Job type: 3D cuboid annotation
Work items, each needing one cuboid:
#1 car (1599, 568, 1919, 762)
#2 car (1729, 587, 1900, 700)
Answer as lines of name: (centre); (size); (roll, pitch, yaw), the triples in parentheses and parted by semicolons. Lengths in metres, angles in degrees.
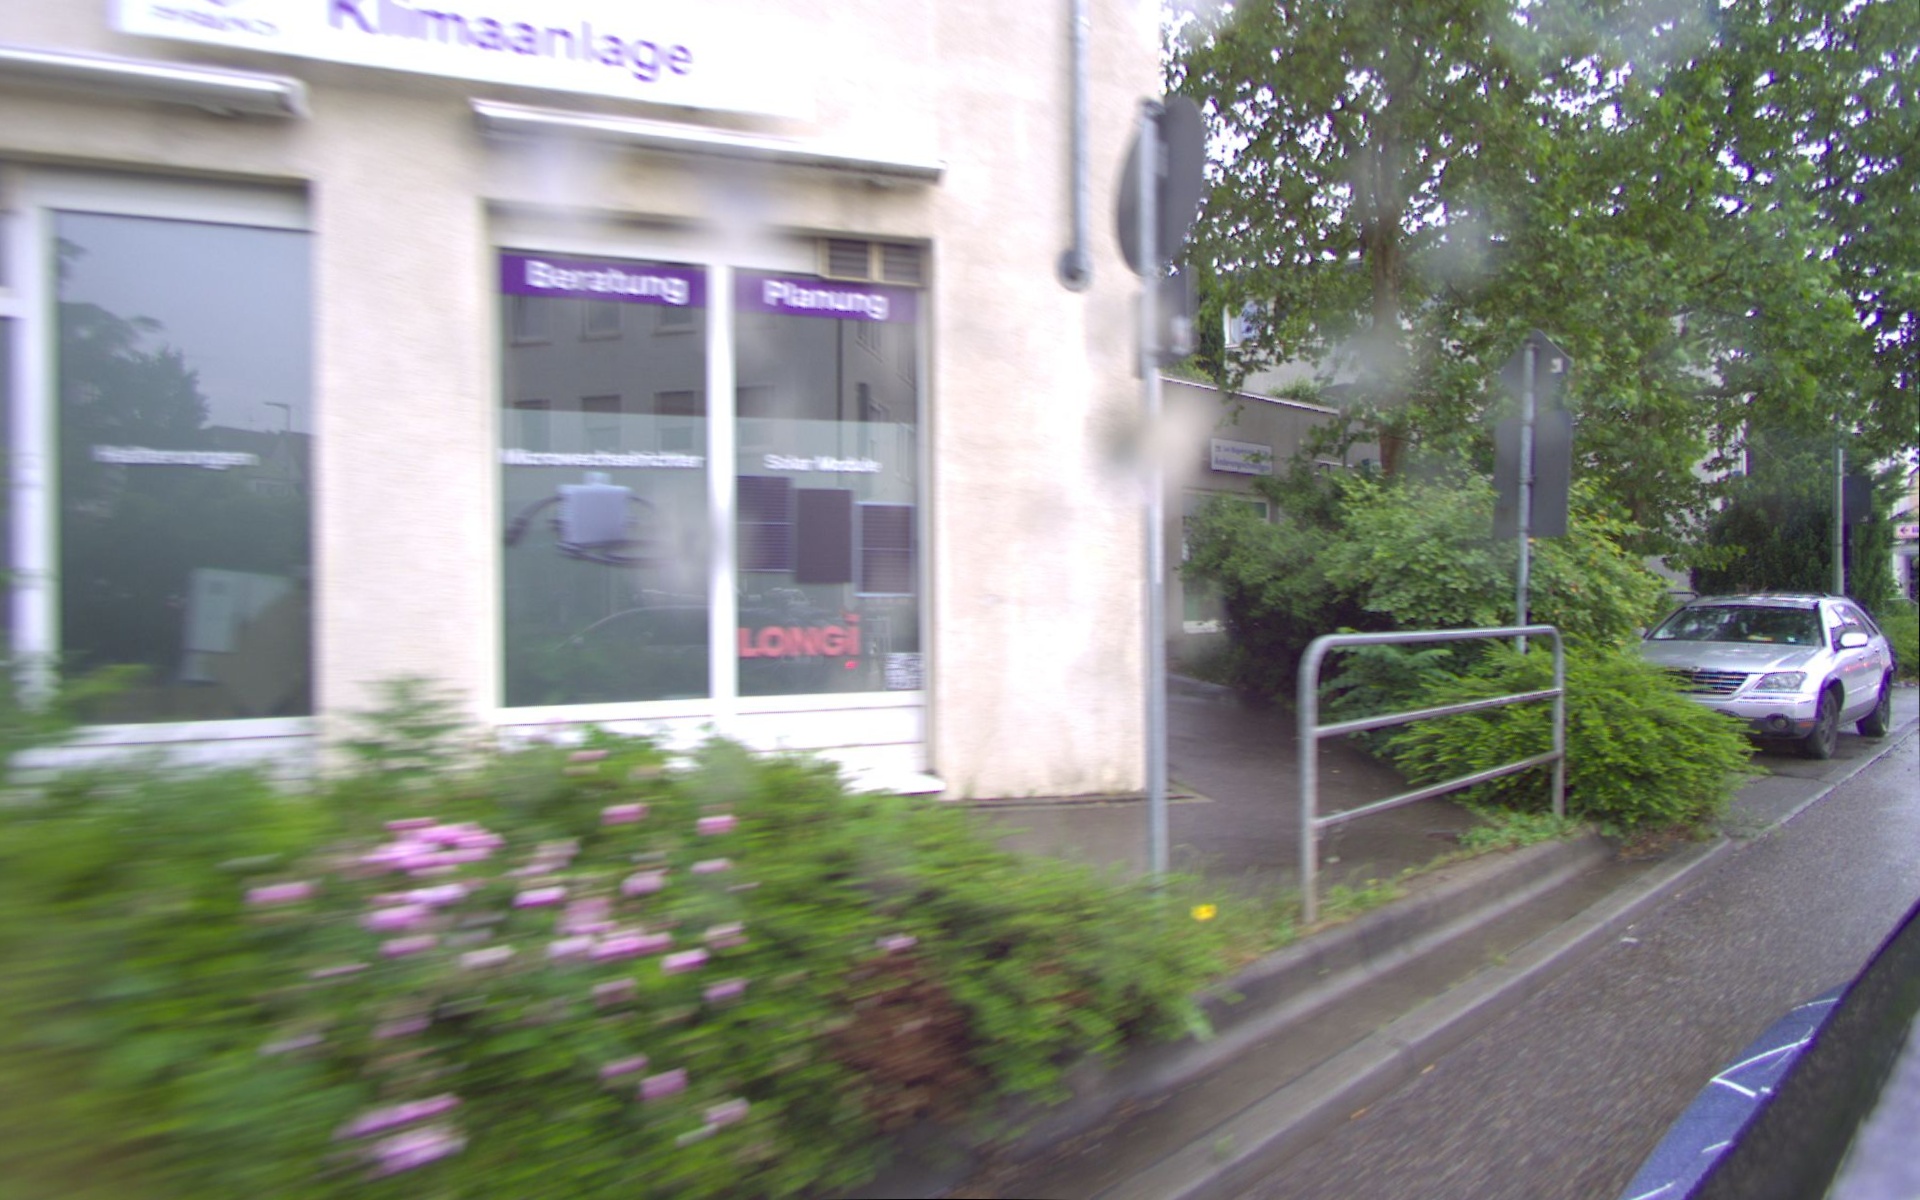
car: (9.324, 0.586, 11.633); (4.648, 1.803, 1.935); (0, 1, -39)
car: (13.902, 0.615, 16.393); (3.849, 1.592, 1.711); (0, 1, -44)
